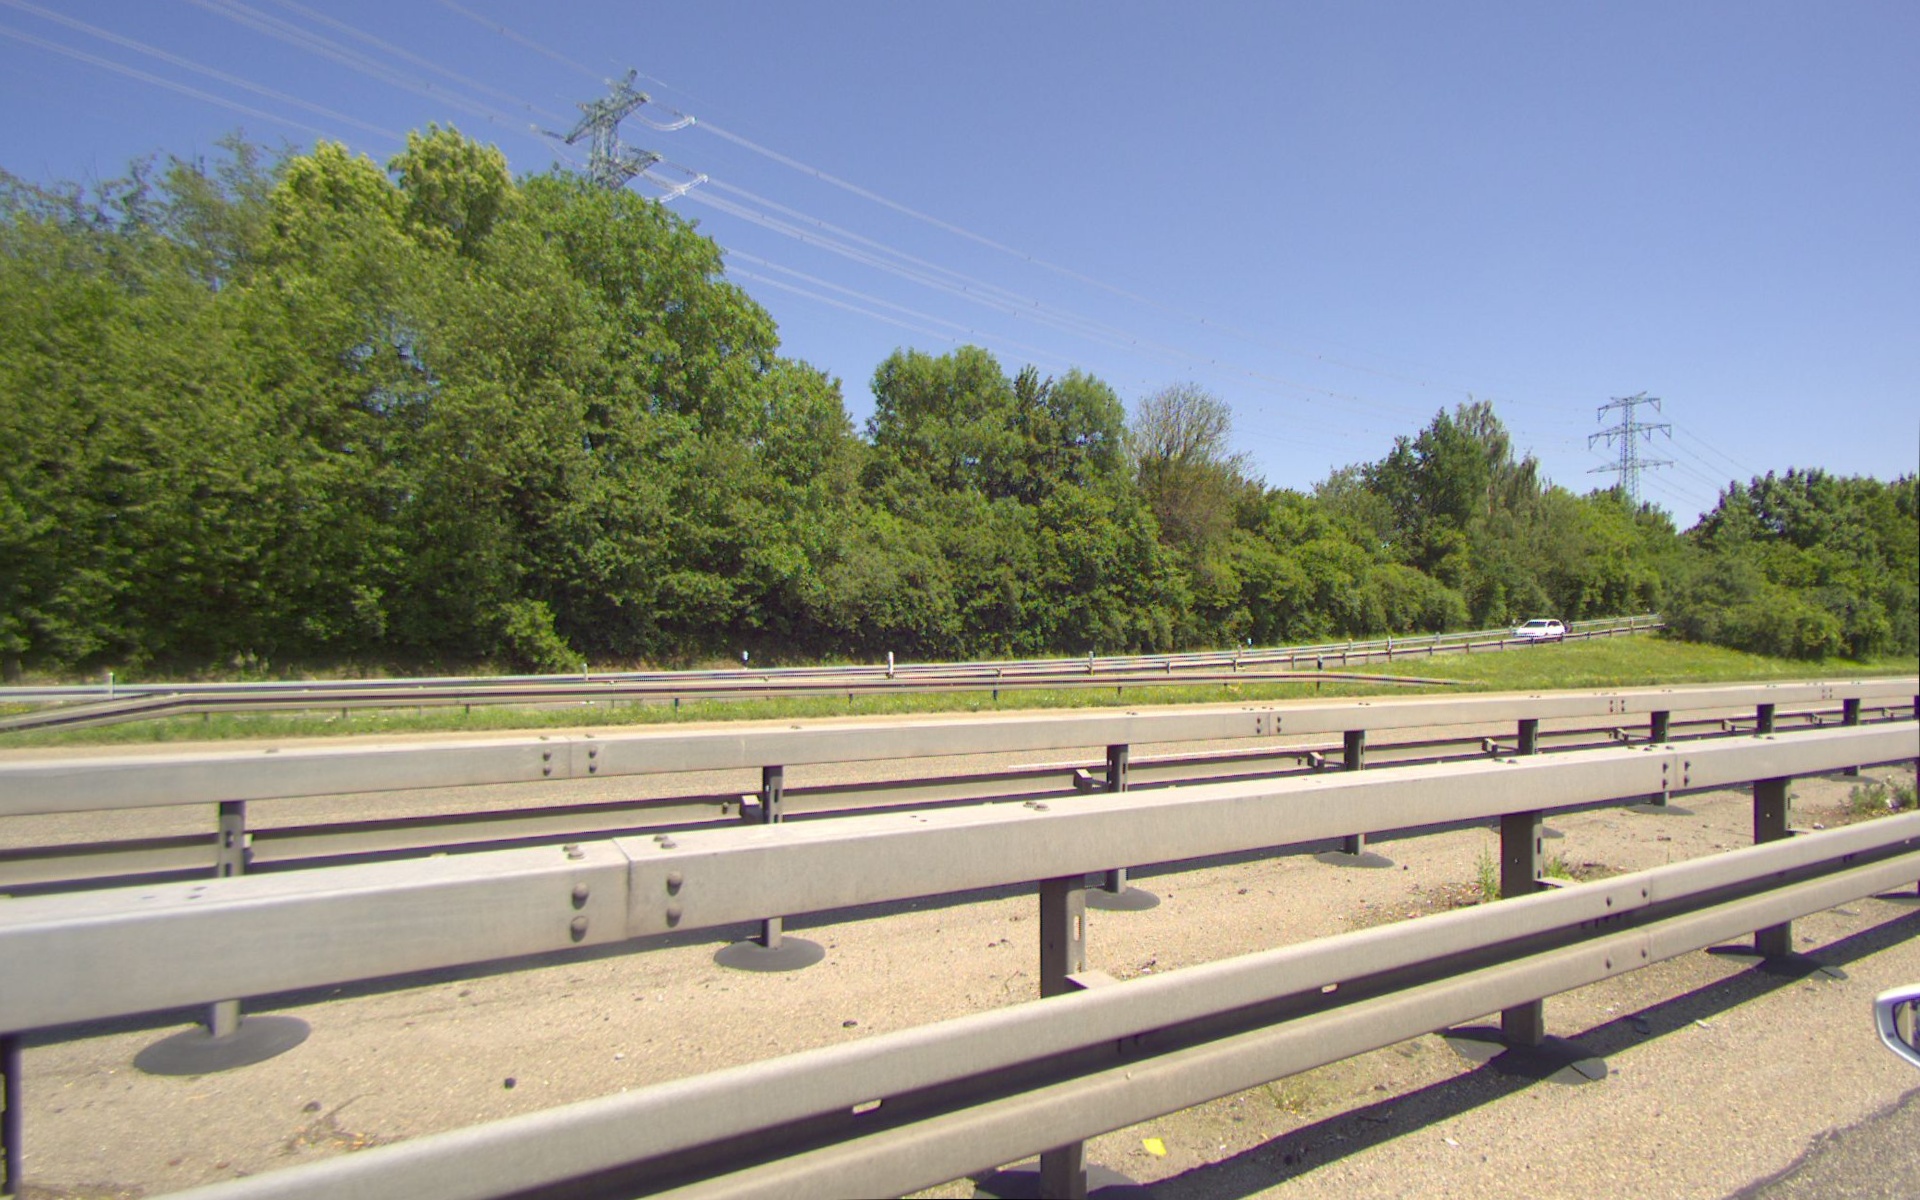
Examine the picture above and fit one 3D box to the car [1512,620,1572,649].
[{"bbox_3d":[36.567,2.163,63.075,4.859,1.696,1.621,2,-1,-39],"label":"car"}]
